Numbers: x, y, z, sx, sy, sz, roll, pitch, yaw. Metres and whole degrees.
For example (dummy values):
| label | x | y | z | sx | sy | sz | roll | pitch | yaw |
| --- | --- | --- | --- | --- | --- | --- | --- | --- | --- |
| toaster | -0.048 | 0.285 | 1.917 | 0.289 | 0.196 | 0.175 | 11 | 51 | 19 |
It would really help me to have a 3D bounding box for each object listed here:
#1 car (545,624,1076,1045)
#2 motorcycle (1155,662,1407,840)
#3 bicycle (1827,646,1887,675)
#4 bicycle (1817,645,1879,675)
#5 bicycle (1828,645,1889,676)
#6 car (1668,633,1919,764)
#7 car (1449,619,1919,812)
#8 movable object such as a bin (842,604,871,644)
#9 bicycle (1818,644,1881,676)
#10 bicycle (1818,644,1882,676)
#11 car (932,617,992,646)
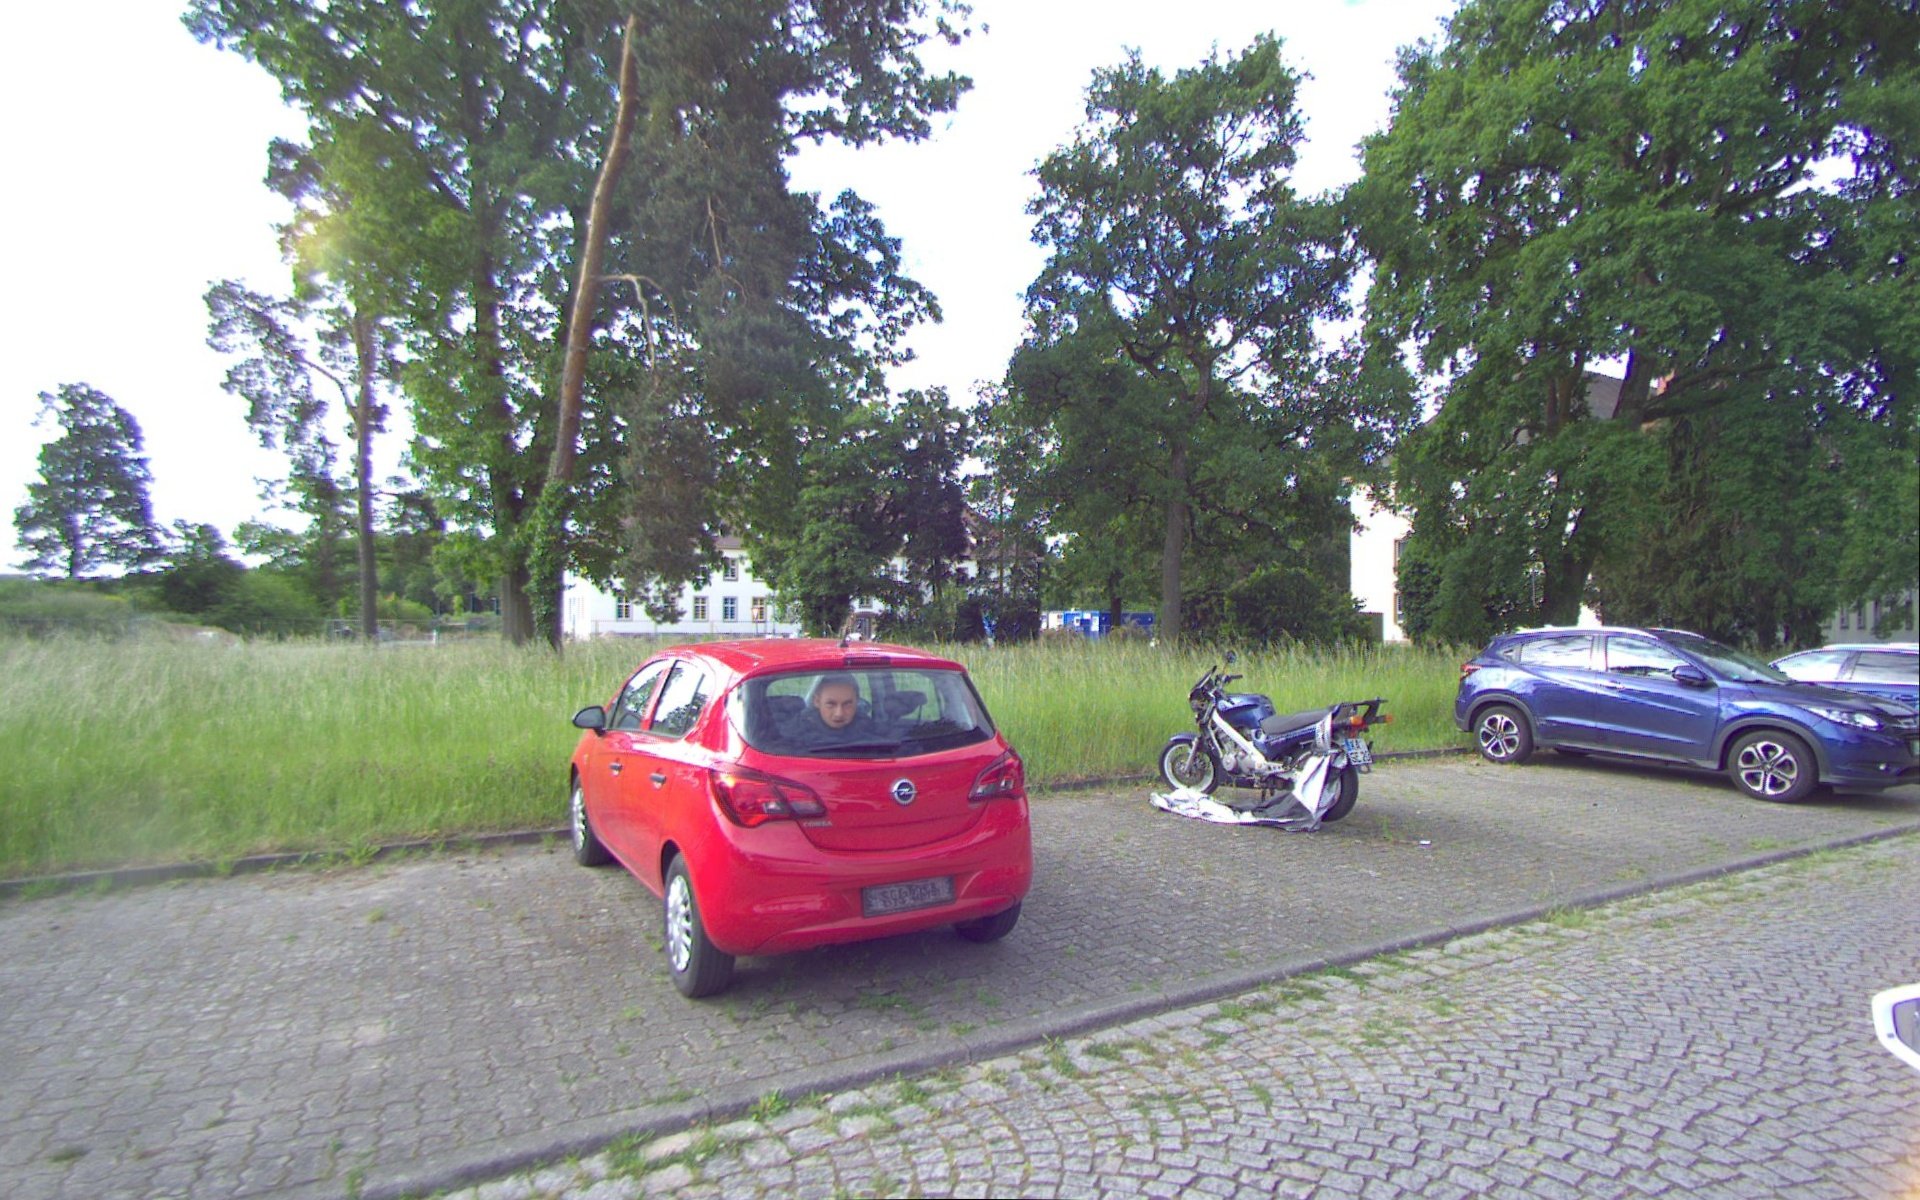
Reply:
| label | x | y | z | sx | sy | sz | roll | pitch | yaw |
| --- | --- | --- | --- | --- | --- | --- | --- | --- | --- |
| car | -1.175 | 0.910 | 5.792 | 1.766 | 1.509 | 3.798 | 1 | -1 | -30 |
| motorcycle | 2.563 | 1.153 | 8.347 | 0.638 | 1.174 | 2.218 | 1 | -1 | -26 |
| bicycle | 34.057 | 2.294 | 38.161 | 1.682 | 1.067 | 0.572 | 0 | -3 | 41 |
| bicycle | 32.668 | 2.205 | 36.975 | 1.682 | 1.067 | 0.572 | 0 | -3 | 41 |
| bicycle | 33.277 | 2.233 | 37.234 | 1.682 | 1.067 | 0.572 | 0 | -3 | 41 |
| car | 11.746 | 1.213 | 12.934 | 1.604 | 1.486 | 4.058 | 1 | -1 | -26 |
| car | 7.645 | 1.029 | 10.767 | 1.767 | 1.625 | 4.051 | 1 | -1 | -31 |
| movable object such as a bin | -10.157 | 2.405 | 98.107 | 2.104 | 3.689 | 6.123 | 2 | -2 | -12 |
| bicycle | 32.006 | 2.153 | 36.185 | 1.682 | 1.067 | 0.572 | 0 | -3 | 41 |
| bicycle | 31.635 | 2.124 | 35.740 | 1.682 | 1.067 | 0.572 | 0 | -3 | 41 |
| car | 0.179 | 2.507 | 79.560 | 4.295 | 2.122 | 2.052 | 3 | -3 | -30 |
